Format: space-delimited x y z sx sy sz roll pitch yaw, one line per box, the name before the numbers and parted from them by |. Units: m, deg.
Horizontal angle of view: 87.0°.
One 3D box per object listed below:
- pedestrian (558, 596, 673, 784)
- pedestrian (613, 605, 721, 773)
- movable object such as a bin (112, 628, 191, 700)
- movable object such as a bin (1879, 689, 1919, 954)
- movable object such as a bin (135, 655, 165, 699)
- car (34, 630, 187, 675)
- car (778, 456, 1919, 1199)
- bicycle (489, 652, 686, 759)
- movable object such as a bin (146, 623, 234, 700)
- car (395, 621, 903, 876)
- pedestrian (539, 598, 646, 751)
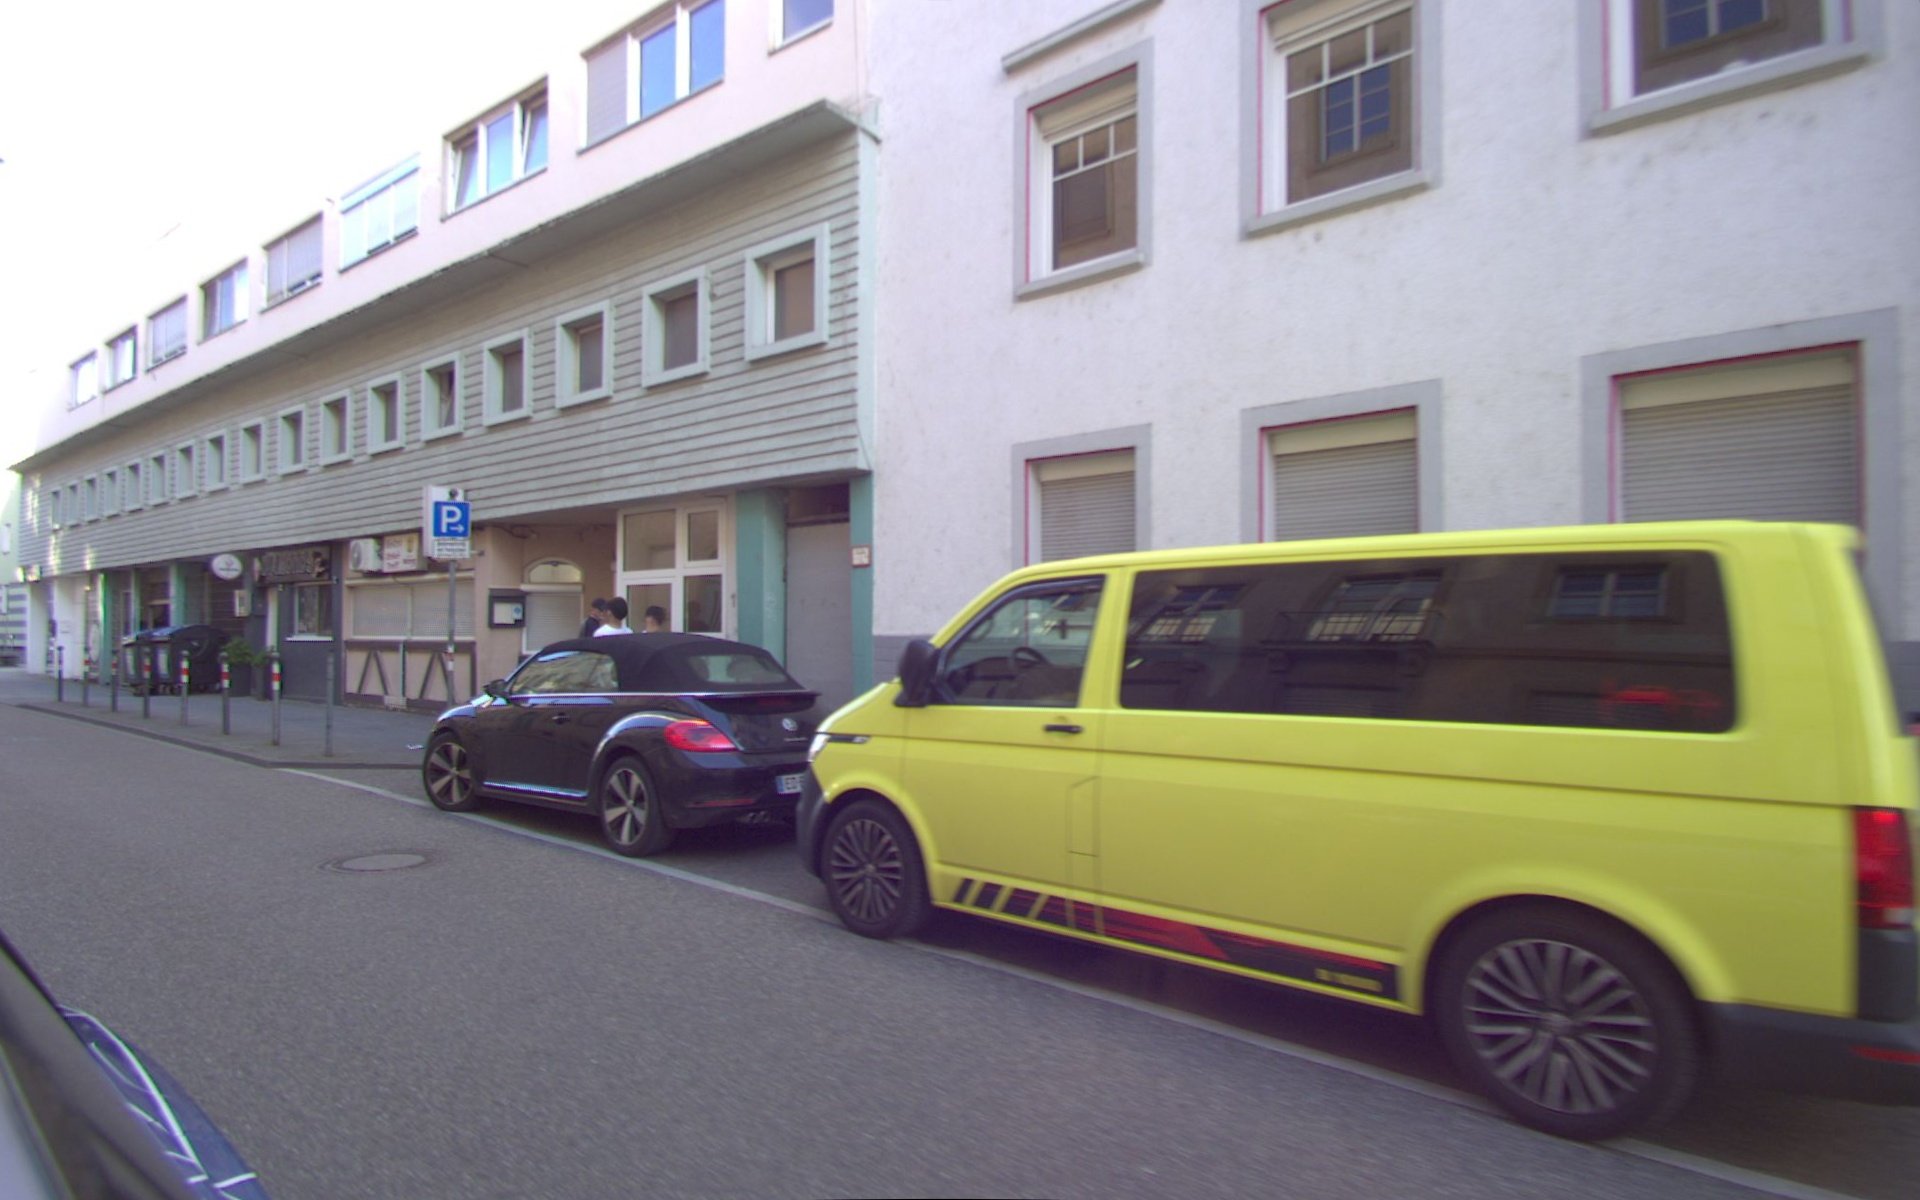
pedestrian | -3.395 0.859 9.981 0.828 1.748 0.691 -2 -4 39
pedestrian | -3.084 0.910 10.667 0.893 1.682 0.666 -2 -4 39
movable object such as a bin | -17.485 1.381 21.884 1.472 1.483 0.959 -3 -4 37
movable object such as a bin | 4.374 0.965 4.471 0.433 1.113 0.534 -2 -4 42
movable object such as a bin | -18.145 1.716 22.665 0.466 0.949 0.389 -2 -3 37
car | -30.443 1.853 36.360 1.689 1.531 3.898 -1 -3 35
car | 1.530 0.689 4.390 4.860 1.881 1.861 -2 -5 40
bicycle | -4.438 1.214 12.102 2.098 1.172 0.826 1 -3 -29
movable object such as a bin | -16.043 1.278 21.083 1.339 1.532 1.112 -3 -4 36
car | -2.580 0.979 7.977 4.071 1.497 1.801 -1 -5 38
pedestrian | -4.410 0.871 12.131 1.062 1.742 0.804 1 -3 -29
